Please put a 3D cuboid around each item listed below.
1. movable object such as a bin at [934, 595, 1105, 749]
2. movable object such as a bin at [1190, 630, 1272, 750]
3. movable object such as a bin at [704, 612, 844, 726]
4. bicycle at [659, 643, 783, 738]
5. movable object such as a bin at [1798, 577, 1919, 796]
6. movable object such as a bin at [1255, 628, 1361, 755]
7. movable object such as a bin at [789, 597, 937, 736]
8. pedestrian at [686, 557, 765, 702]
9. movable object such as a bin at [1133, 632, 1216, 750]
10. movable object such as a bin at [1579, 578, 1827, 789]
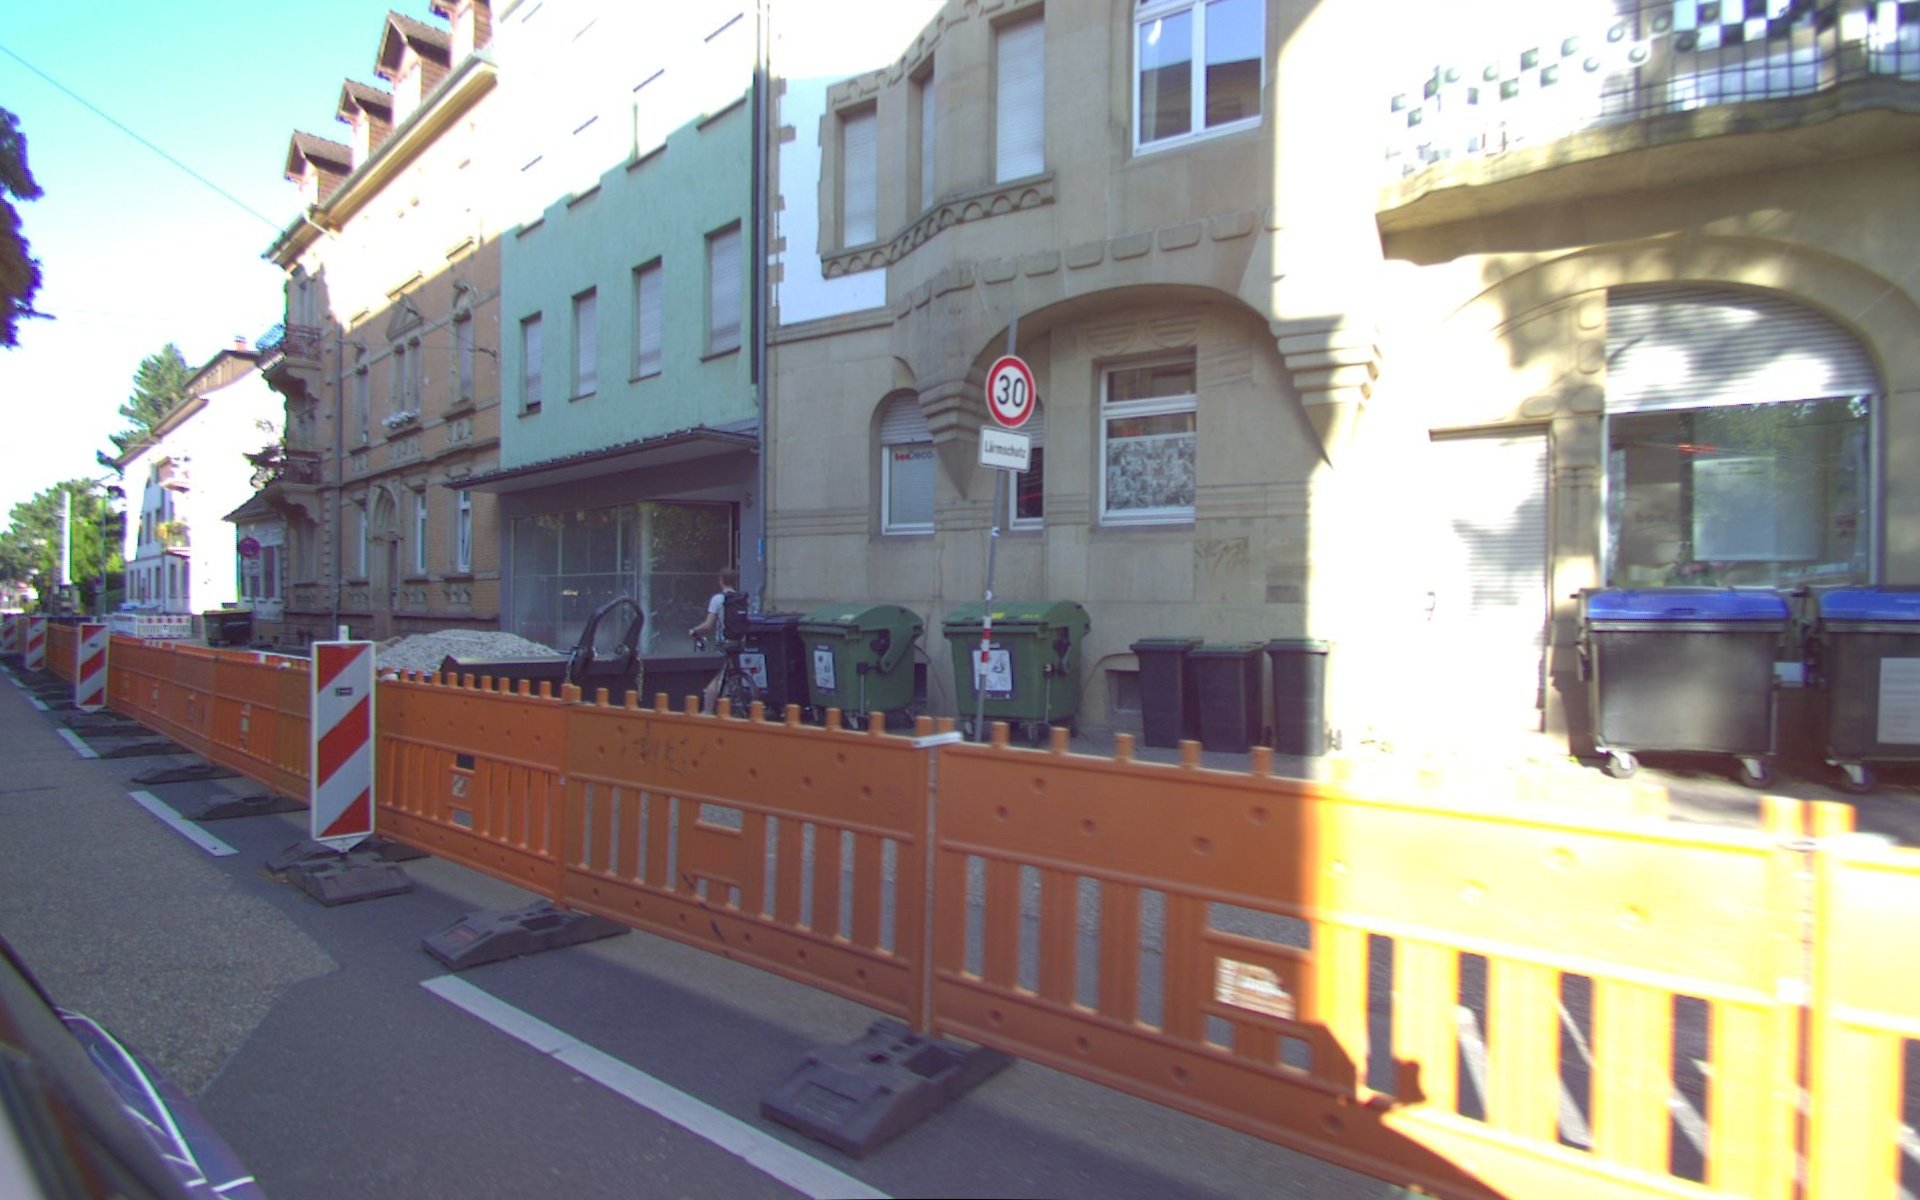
[{"bbox_3d":[0.617,0.683,10.454,1.404,1.442,1.073,0,1,35],"label":"movable object such as a bin"},{"bbox_3d":[2.533,0.816,9.437,0.555,1.031,0.631,0,1,35],"label":"movable object such as a bin"},{"bbox_3d":[-2.284,0.801,12.432,1.332,1.273,1.073,0,1,36],"label":"movable object such as a bin"},{"bbox_3d":[-2.711,0.986,11.410,1.472,0.939,0.594,0,1,40],"label":"bicycle"},{"bbox_3d":[6.805,0.560,7.027,1.340,1.442,1.075,0,1,30],"label":"movable object such as a bin"},{"bbox_3d":[3.137,0.794,9.120,0.762,1.049,0.631,0,1,35],"label":"movable object such as a bin"},{"bbox_3d":[-1.122,0.697,11.573,1.069,1.442,1.410,-2,1,-39],"label":"movable object such as a bin"},{"bbox_3d":[-2.623,0.309,11.315,0.616,1.567,0.592,0,1,40],"label":"pedestrian"},{"bbox_3d":[2.083,0.860,9.810,0.587,1.049,0.631,0,1,35],"label":"movable object such as a bin"},{"bbox_3d":[5.586,0.564,7.746,1.402,1.442,1.075,0,1,30],"label":"movable object such as a bin"}]
